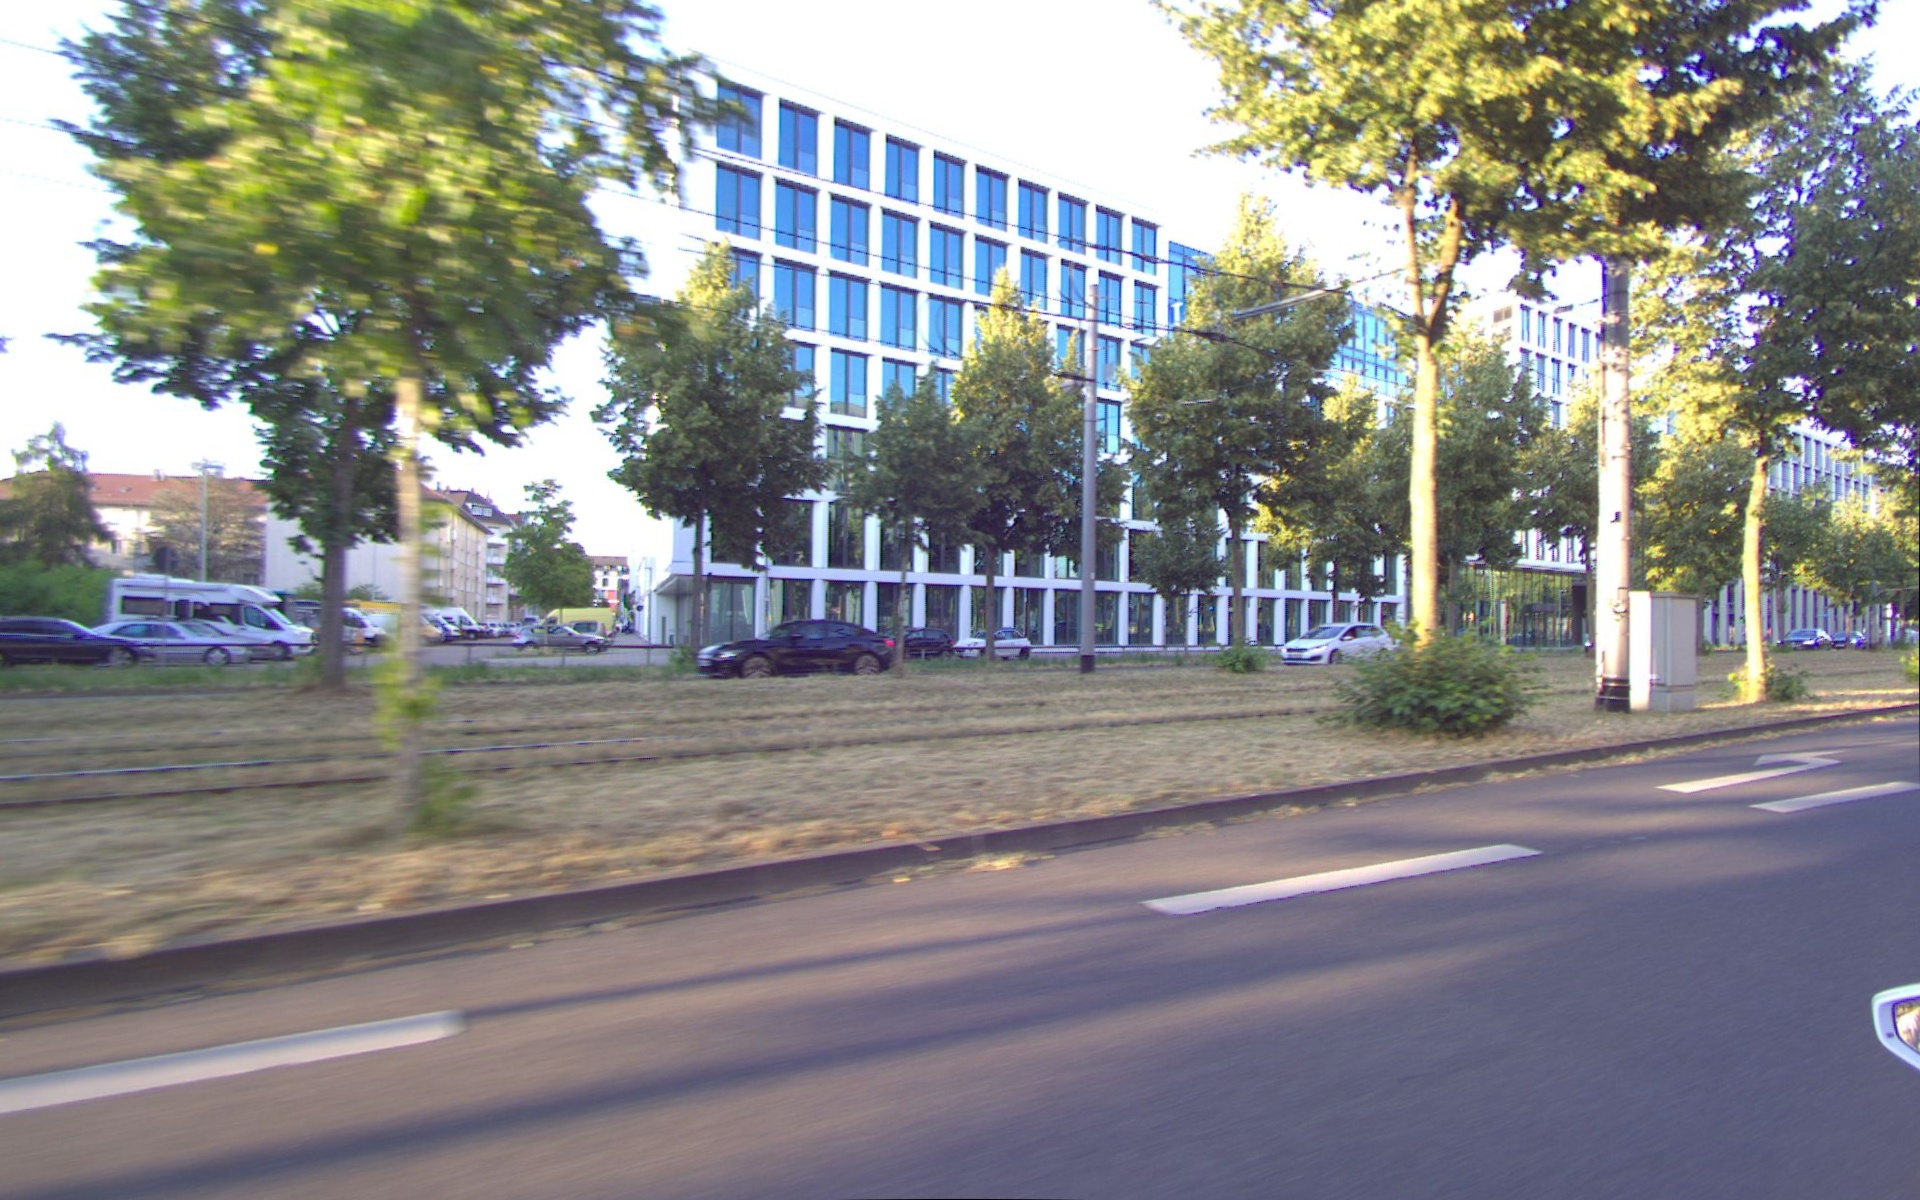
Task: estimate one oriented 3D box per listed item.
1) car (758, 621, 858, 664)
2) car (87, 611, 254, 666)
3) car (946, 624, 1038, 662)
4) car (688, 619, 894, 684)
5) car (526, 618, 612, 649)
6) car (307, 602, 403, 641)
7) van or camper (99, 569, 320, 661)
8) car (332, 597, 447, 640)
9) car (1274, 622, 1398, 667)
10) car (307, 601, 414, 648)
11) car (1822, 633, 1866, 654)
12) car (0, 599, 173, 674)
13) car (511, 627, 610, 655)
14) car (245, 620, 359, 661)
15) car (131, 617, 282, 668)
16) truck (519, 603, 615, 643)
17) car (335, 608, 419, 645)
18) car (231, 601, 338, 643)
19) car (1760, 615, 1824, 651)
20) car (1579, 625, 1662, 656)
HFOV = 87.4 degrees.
[{"bbox_3d":[-6.039,1.666,39.970,3.455,1.602,1.849,1,-1,-34],"label":"car"},{"bbox_3d":[-25.185,1.218,32.252,3.954,1.661,1.906,1,-1,-31],"label":"car"},{"bbox_3d":[1.450,1.912,45.217,3.744,1.602,1.849,1,-1,-34],"label":"car"},{"bbox_3d":[-3.832,1.144,23.159,4.431,1.350,1.645,1,-2,-36],"label":"car"},{"bbox_3d":[-20.997,1.792,54.040,4.217,1.610,1.759,1,-1,-23],"label":"car"},{"bbox_3d":[-29.808,1.080,49.575,3.955,1.835,1.906,1,-1,-31],"label":"car"},{"bbox_3d":[-27.316,0.567,36.978,6.190,3.126,2.697,1,-1,-31],"label":"van or camper"},{"bbox_3d":[-35.720,1.198,63.072,6.000,2.631,1.991,1,-1,-21],"label":"car"},{"bbox_3d":[12.362,1.434,32.935,4.487,1.350,1.645,1,-2,-36],"label":"car"},{"bbox_3d":[-31.119,1.275,52.306,4.441,2.338,2.096,1,-1,-23],"label":"car"},{"bbox_3d":[65.985,3.245,74.991,4.150,1.522,1.645,1,-1,-36],"label":"car"},{"bbox_3d":[-25.789,1.031,28.816,4.883,2.040,1.980,1,-1,-35],"label":"car"},{"bbox_3d":[-18.569,1.907,46.796,4.189,1.277,1.736,1,-1,-22],"label":"car"},{"bbox_3d":[-27.879,1.715,42.729,3.954,1.661,1.906,1,-1,-31],"label":"car"},{"bbox_3d":[-26.016,1.448,34.851,3.954,1.661,1.906,1,-1,-31],"label":"car"},{"bbox_3d":[-24.687,1.465,63.149,5.494,2.413,1.989,1,-1,-24],"label":"truck"},{"bbox_3d":[-33.493,1.542,57.829,3.944,2.040,1.989,1,-1,-24],"label":"car"},{"bbox_3d":[-30.868,1.001,46.034,3.955,1.835,1.906,1,-1,-31],"label":"car"},{"bbox_3d":[49.092,1.932,59.260,3.961,2.040,1.980,1,-2,-36],"label":"car"},{"bbox_3d":[29.857,1.803,45.366,4.696,1.350,1.645,1,-2,-36],"label":"car"}]
